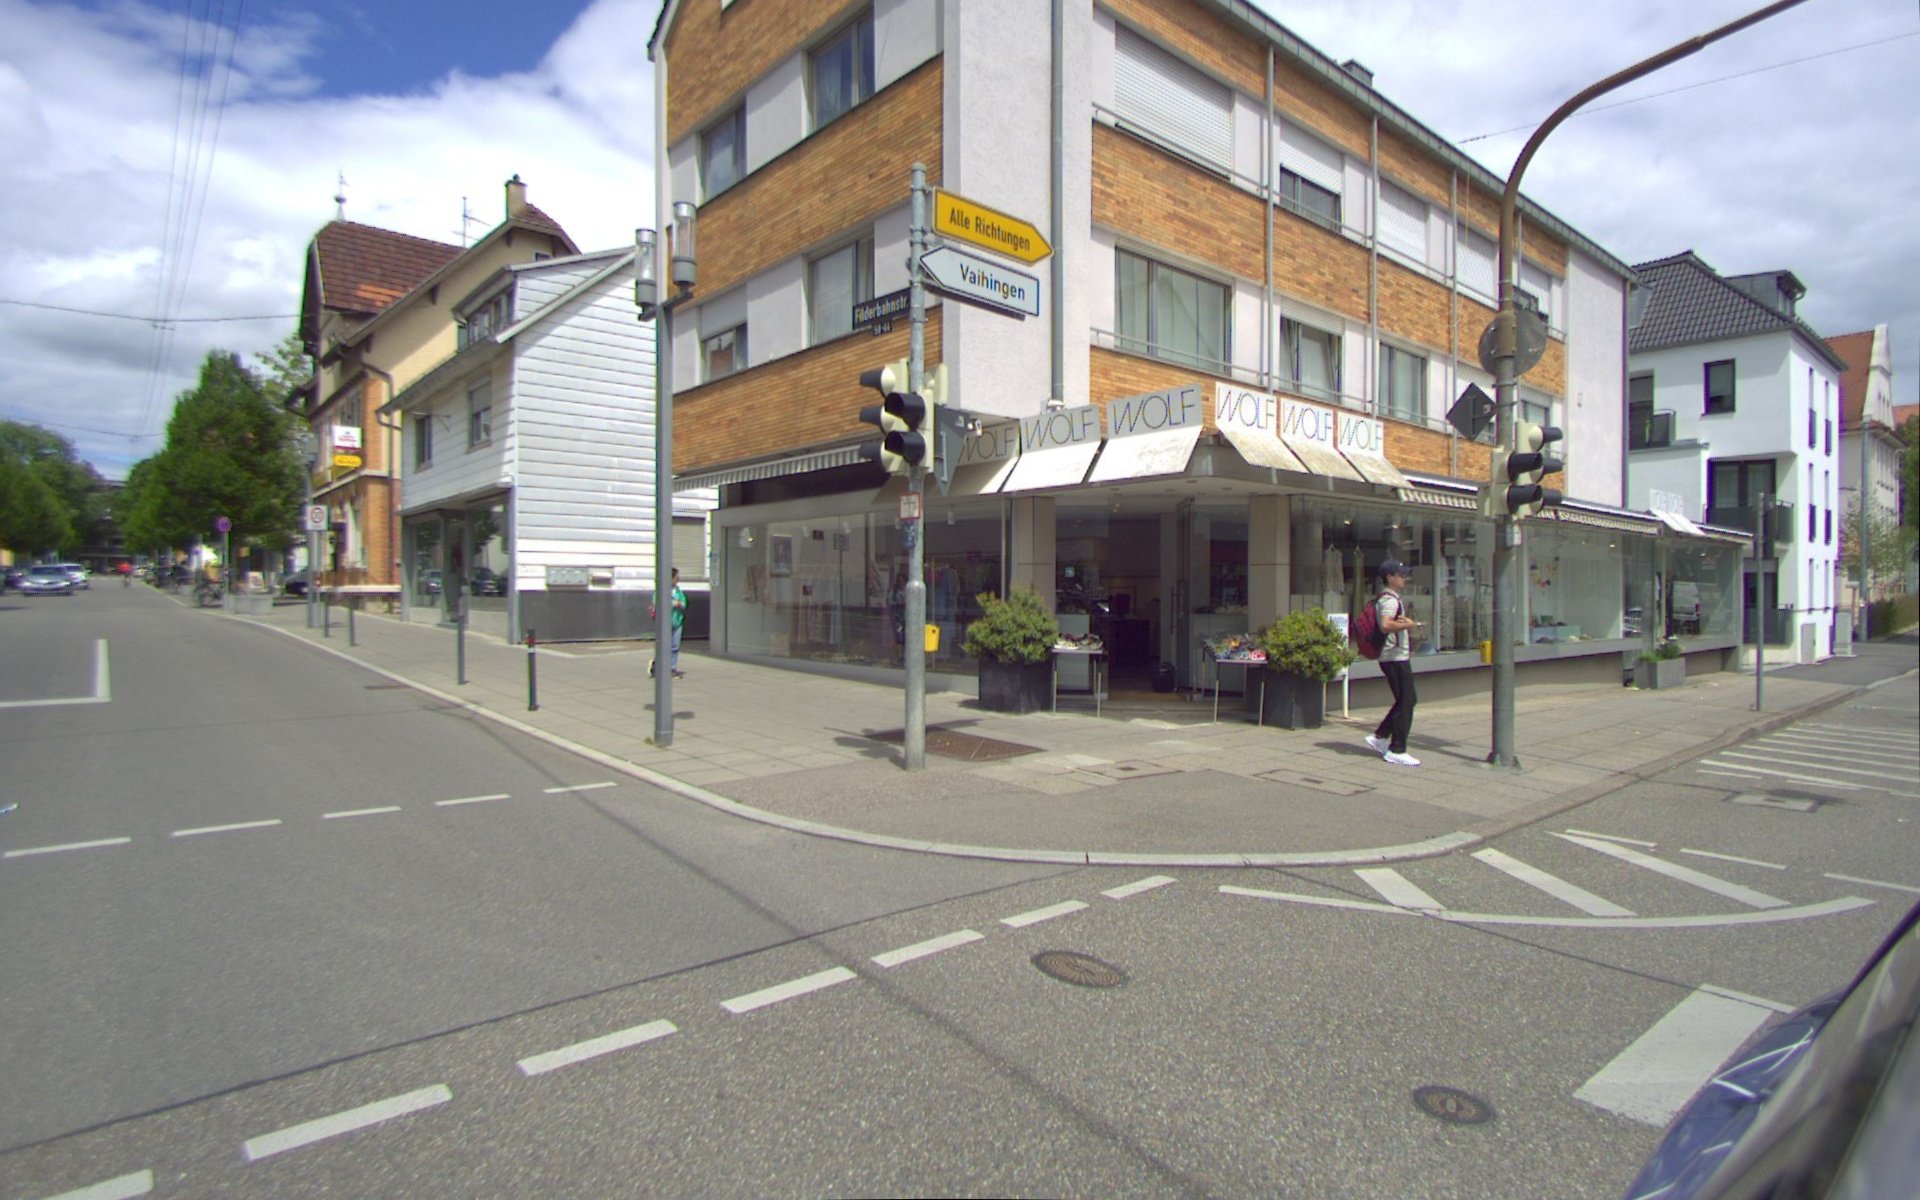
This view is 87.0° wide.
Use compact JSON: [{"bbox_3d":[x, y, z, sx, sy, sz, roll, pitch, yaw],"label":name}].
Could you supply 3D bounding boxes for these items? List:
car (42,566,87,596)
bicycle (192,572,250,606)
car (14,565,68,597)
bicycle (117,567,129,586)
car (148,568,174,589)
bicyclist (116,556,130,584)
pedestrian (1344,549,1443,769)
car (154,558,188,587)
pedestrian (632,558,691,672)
[{"bbox_3d":[-52.815,-1.101,59.678,1.796,1.671,3.989,-2,1,-44],"label":"car"},{"bbox_3d":[-27.679,-0.404,37.909,1.688,1.235,0.560,-2,0,-42],"label":"bicycle"},{"bbox_3d":[-42.817,-0.867,47.129,1.678,1.415,3.989,-2,1,-44],"label":"car"},{"bbox_3d":[-54.475,-1.514,65.827,0.552,1.235,1.715,-1,0,-40],"label":"bicycle"},{"bbox_3d":[-64.829,-1.719,82.079,1.590,1.622,3.675,-2,1,-40],"label":"car"},{"bbox_3d":[-54.475,-1.941,65.855,0.681,1.783,0.944,-1,0,-40],"label":"bicyclist"},{"bbox_3d":[3.866,0.492,9.079,0.605,1.836,0.772,4,2,17],"label":"pedestrian"},{"bbox_3d":[-52.480,-1.810,67.255,1.650,1.820,3.811,-2,1,-40],"label":"car"},{"bbox_3d":[-4.217,0.201,14.327,0.584,1.579,0.522,-1,0,33],"label":"pedestrian"}]
